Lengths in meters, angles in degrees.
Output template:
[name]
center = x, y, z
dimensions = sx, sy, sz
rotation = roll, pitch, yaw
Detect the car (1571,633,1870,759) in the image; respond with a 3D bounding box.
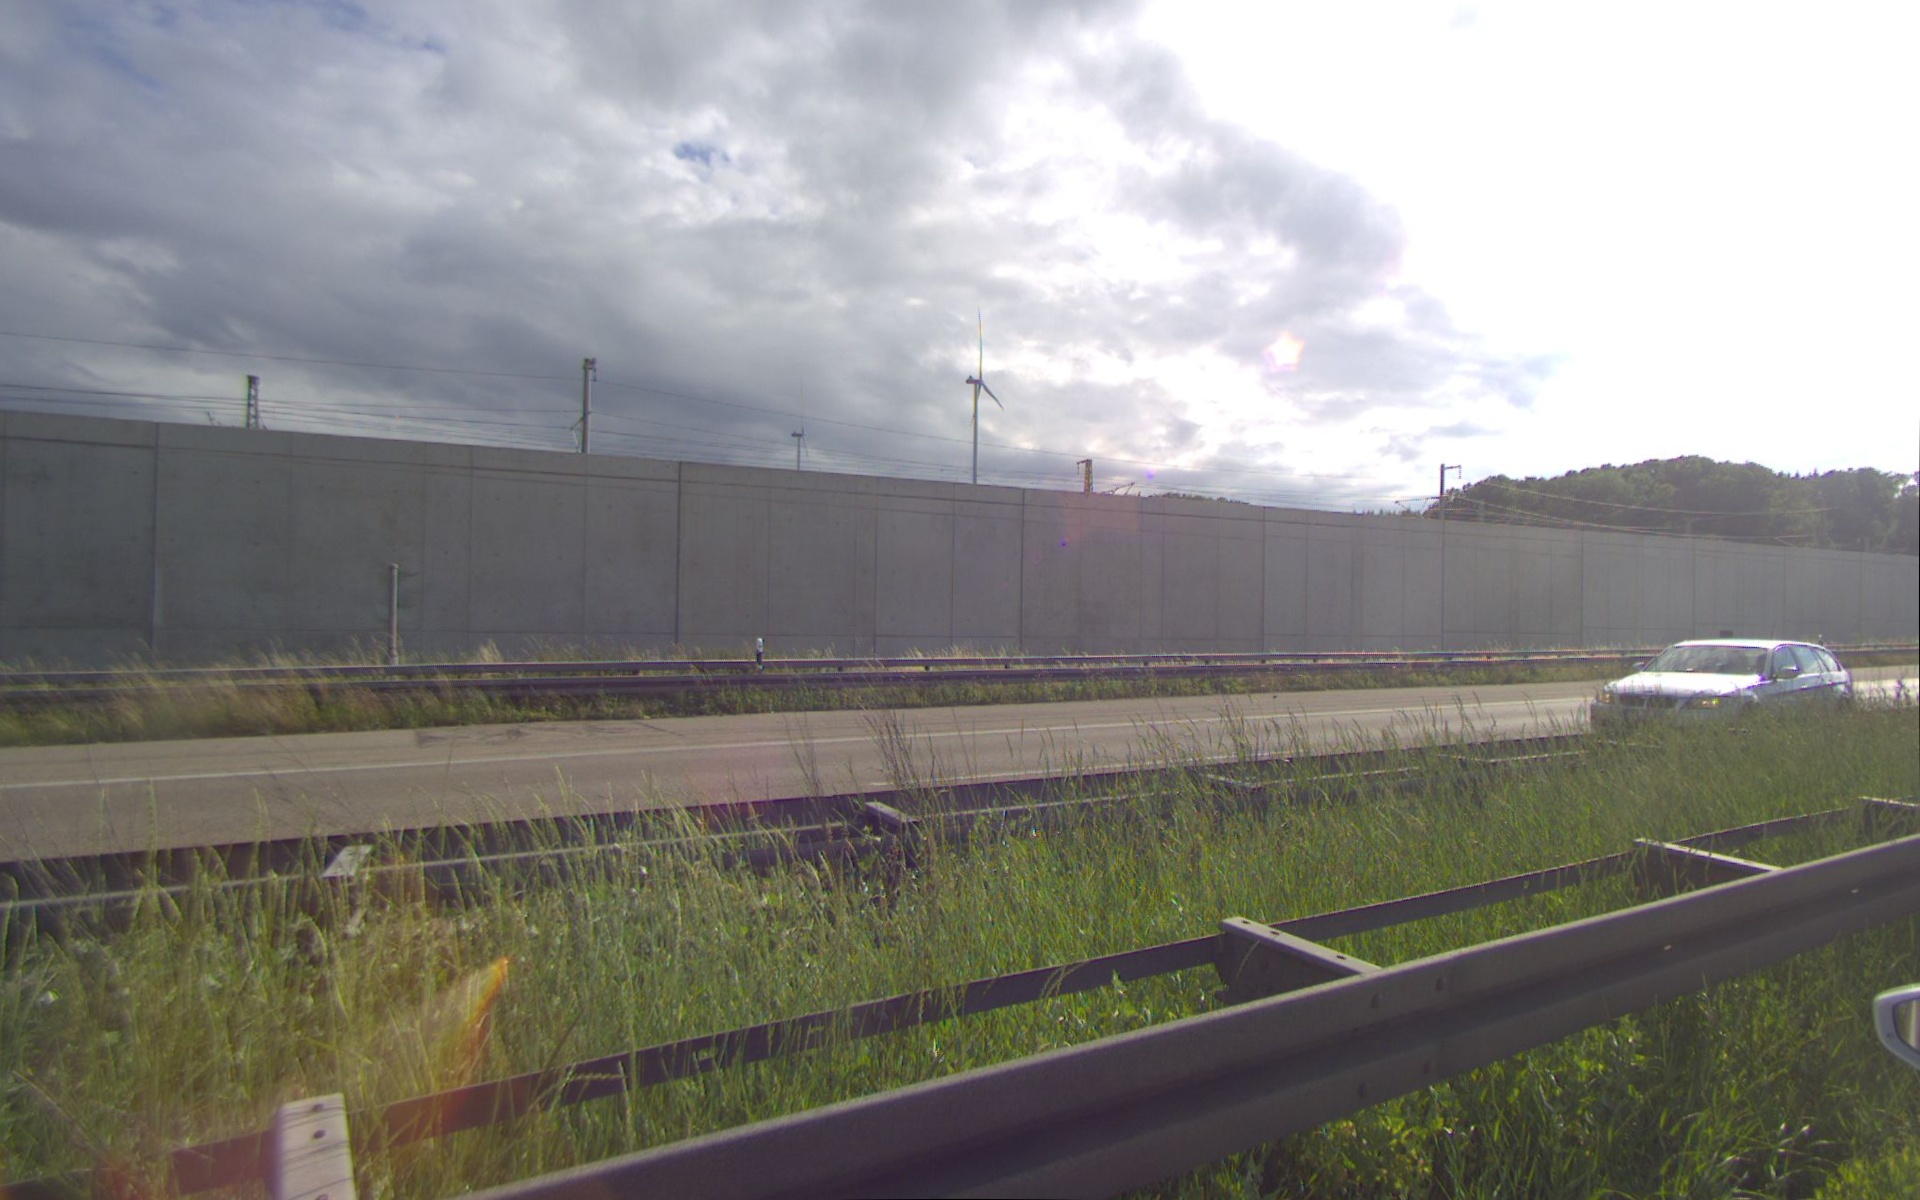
[car]
center = 10.598, 1.228, 13.943
dimensions = 4.182, 1.470, 1.864
rotation = 2, -1, -30
